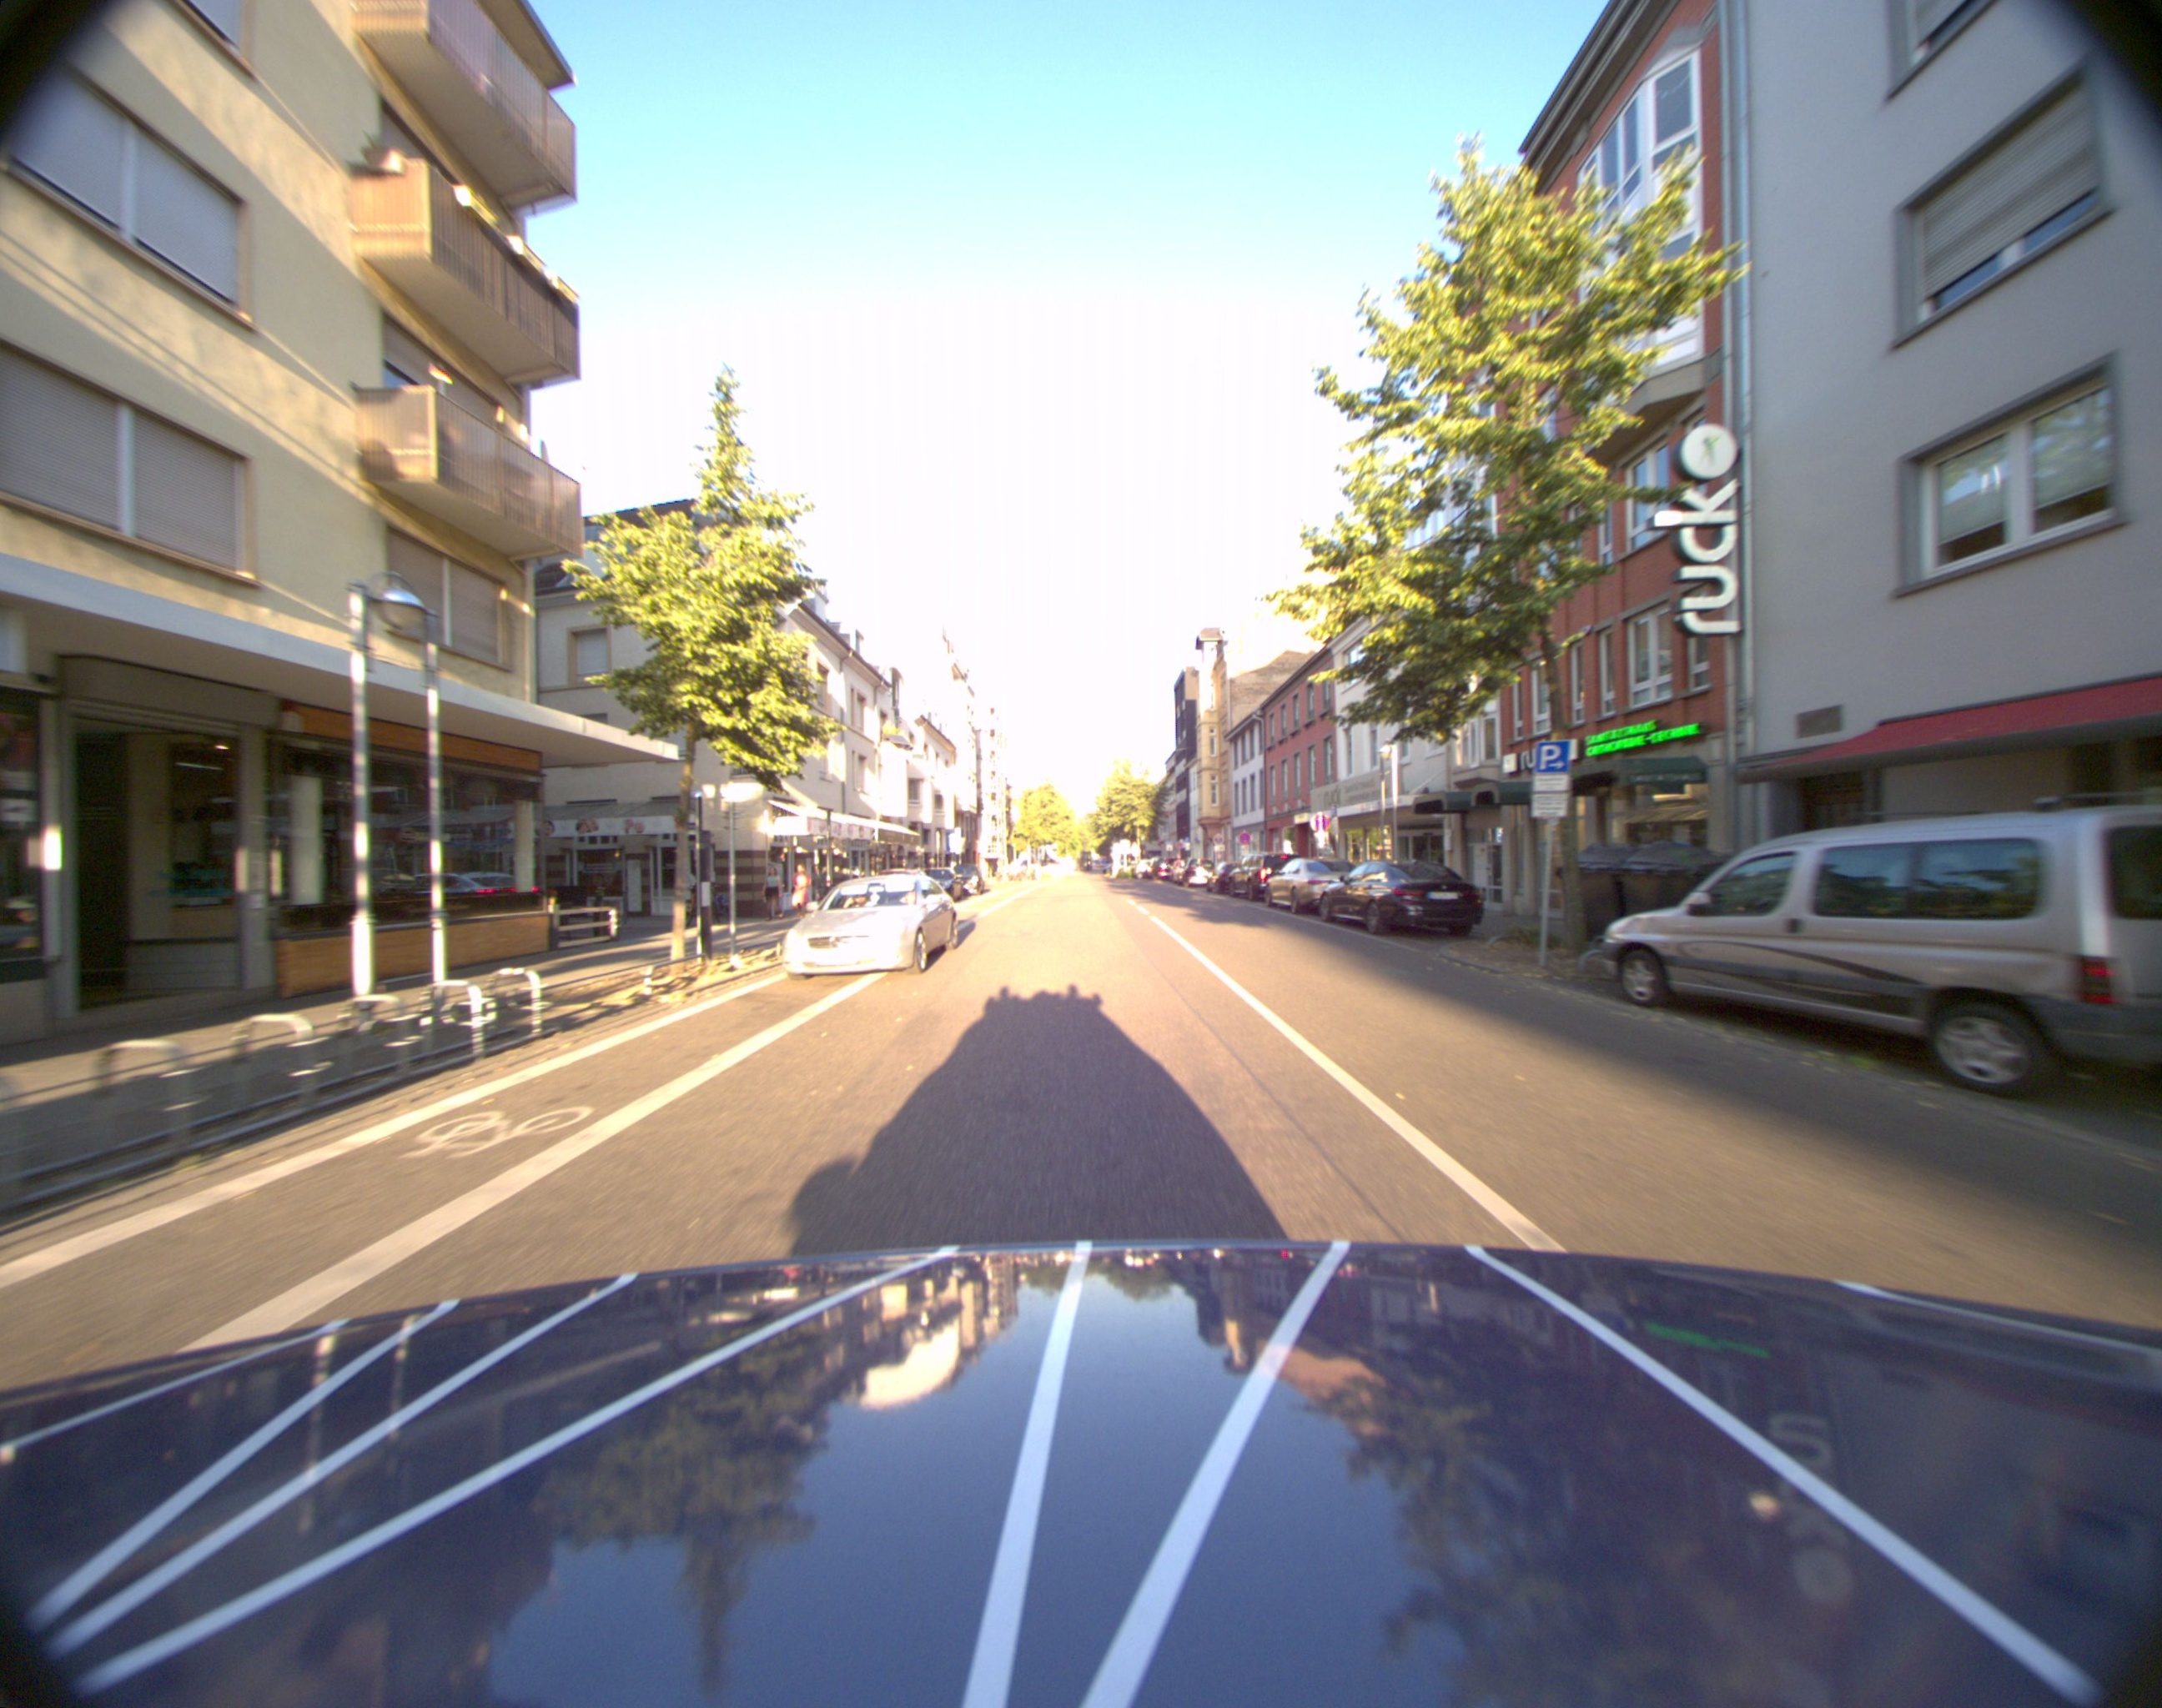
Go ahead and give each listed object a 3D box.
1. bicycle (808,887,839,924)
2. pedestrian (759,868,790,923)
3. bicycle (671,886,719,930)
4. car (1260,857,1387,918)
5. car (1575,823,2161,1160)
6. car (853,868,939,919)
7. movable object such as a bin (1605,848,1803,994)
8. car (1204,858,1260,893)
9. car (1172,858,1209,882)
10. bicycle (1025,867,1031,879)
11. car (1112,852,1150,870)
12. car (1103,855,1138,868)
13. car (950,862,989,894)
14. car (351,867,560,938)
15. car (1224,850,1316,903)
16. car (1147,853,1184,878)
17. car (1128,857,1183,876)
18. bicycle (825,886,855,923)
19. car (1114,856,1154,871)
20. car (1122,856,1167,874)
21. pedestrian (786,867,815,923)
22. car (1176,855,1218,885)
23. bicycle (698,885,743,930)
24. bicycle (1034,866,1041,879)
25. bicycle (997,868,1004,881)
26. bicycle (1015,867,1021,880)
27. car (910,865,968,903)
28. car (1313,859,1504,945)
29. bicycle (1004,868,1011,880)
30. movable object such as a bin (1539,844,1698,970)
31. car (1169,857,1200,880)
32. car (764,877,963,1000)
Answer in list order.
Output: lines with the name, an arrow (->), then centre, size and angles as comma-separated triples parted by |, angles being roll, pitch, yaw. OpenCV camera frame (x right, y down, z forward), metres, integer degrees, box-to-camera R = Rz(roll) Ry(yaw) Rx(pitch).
bicycle -> -7.316, 1.450, 21.661 | 0.392, 0.951, 1.639 | -1, 0, -3
pedestrian -> -8.724, 1.165, 21.655 | 0.541, 1.521, 0.651 | -1, 0, 5
bicycle -> -10.181, 1.406, 20.090 | 0.392, 1.027, 1.844 | -1, 0, -3
car -> 6.579, 0.842, 21.299 | 1.998, 1.502, 5.113 | 0, 0, 1
car -> 6.365, 0.731, 6.122 | 1.920, 1.777, 4.147 | 0, 0, -3
car -> -5.698, 1.160, 23.870 | 1.727, 1.413, 4.032 | 0, 0, -1
movable object such as a bin -> 8.004, 0.808, 9.868 | 1.284, 1.663, 1.440 | -4, 0, -2
car -> 6.771, 0.931, 34.522 | 1.770, 1.502, 4.217 | 0, 0, 1
car -> 6.805, 0.970, 47.431 | 1.770, 1.455, 3.867 | 0, 0, 1
bicycle -> -4.238, 1.498, 60.700 | 0.470, 0.952, 1.918 | -1, 0, -5
car -> 5.823, 0.802, 88.407 | 4.193, 1.971, 2.055 | 0, 0, -5
car -> 5.164, 0.982, 100.513 | 4.197, 1.618, 2.053 | 0, 0, -17
car -> -5.570, 1.184, 38.130 | 1.572, 1.540, 2.803 | 0, 0, -1
car -> -15.626, 1.143, 19.054 | 4.176, 1.602, 1.858 | 0, 0, 13
car -> 6.883, 0.768, 28.316 | 1.999, 1.759, 5.298 | 0, 0, -2
car -> 6.121, 0.815, 55.655 | 2.055, 1.742, 4.216 | 0, 0, -3
car -> 6.118, 1.006, 62.394 | 4.193, 1.572, 2.055 | 0, 0, -5
bicycle -> -6.873, 1.429, 21.696 | 0.392, 0.950, 1.615 | -1, 0, -3
car -> 5.763, 1.011, 83.266 | 4.132, 1.666, 1.996 | 0, 0, -4
car -> 5.817, 0.995, 70.110 | 3.911, 1.572, 1.958 | 0, 0, -5
pedestrian -> -7.859, 1.138, 21.286 | 0.541, 1.521, 0.554 | -1, 0, 5
car -> 6.485, 0.888, 42.994 | 1.770, 1.604, 4.217 | 0, 0, 1
bicycle -> -9.503, 1.393, 20.101 | 0.392, 1.044, 1.844 | -1, 0, -3
bicycle -> -3.490, 1.462, 60.821 | 0.470, 0.952, 1.918 | -1, 0, -5
bicycle -> -6.410, 1.604, 60.301 | 0.470, 0.952, 1.917 | -1, 0, -7
bicycle -> -5.037, 1.537, 60.532 | 0.470, 0.952, 1.918 | -1, 0, -5
car -> -5.775, 1.186, 31.212 | 1.727, 1.413, 3.748 | 0, 0, -1
car -> 6.436, 0.850, 15.607 | 1.920, 1.502, 4.638 | 0, 0, 0
bicycle -> -5.813, 1.572, 60.210 | 0.470, 0.952, 1.918 | -1, 0, -5
movable object such as a bin -> 7.946, 0.741, 11.328 | 1.283, 1.663, 1.369 | -4, 0, -2
car -> 6.954, 0.959, 51.414 | 1.689, 1.455, 3.542 | 0, 0, 1
car -> -3.132, 1.147, 11.988 | 1.805, 1.370, 4.551 | -3, 0, -1
